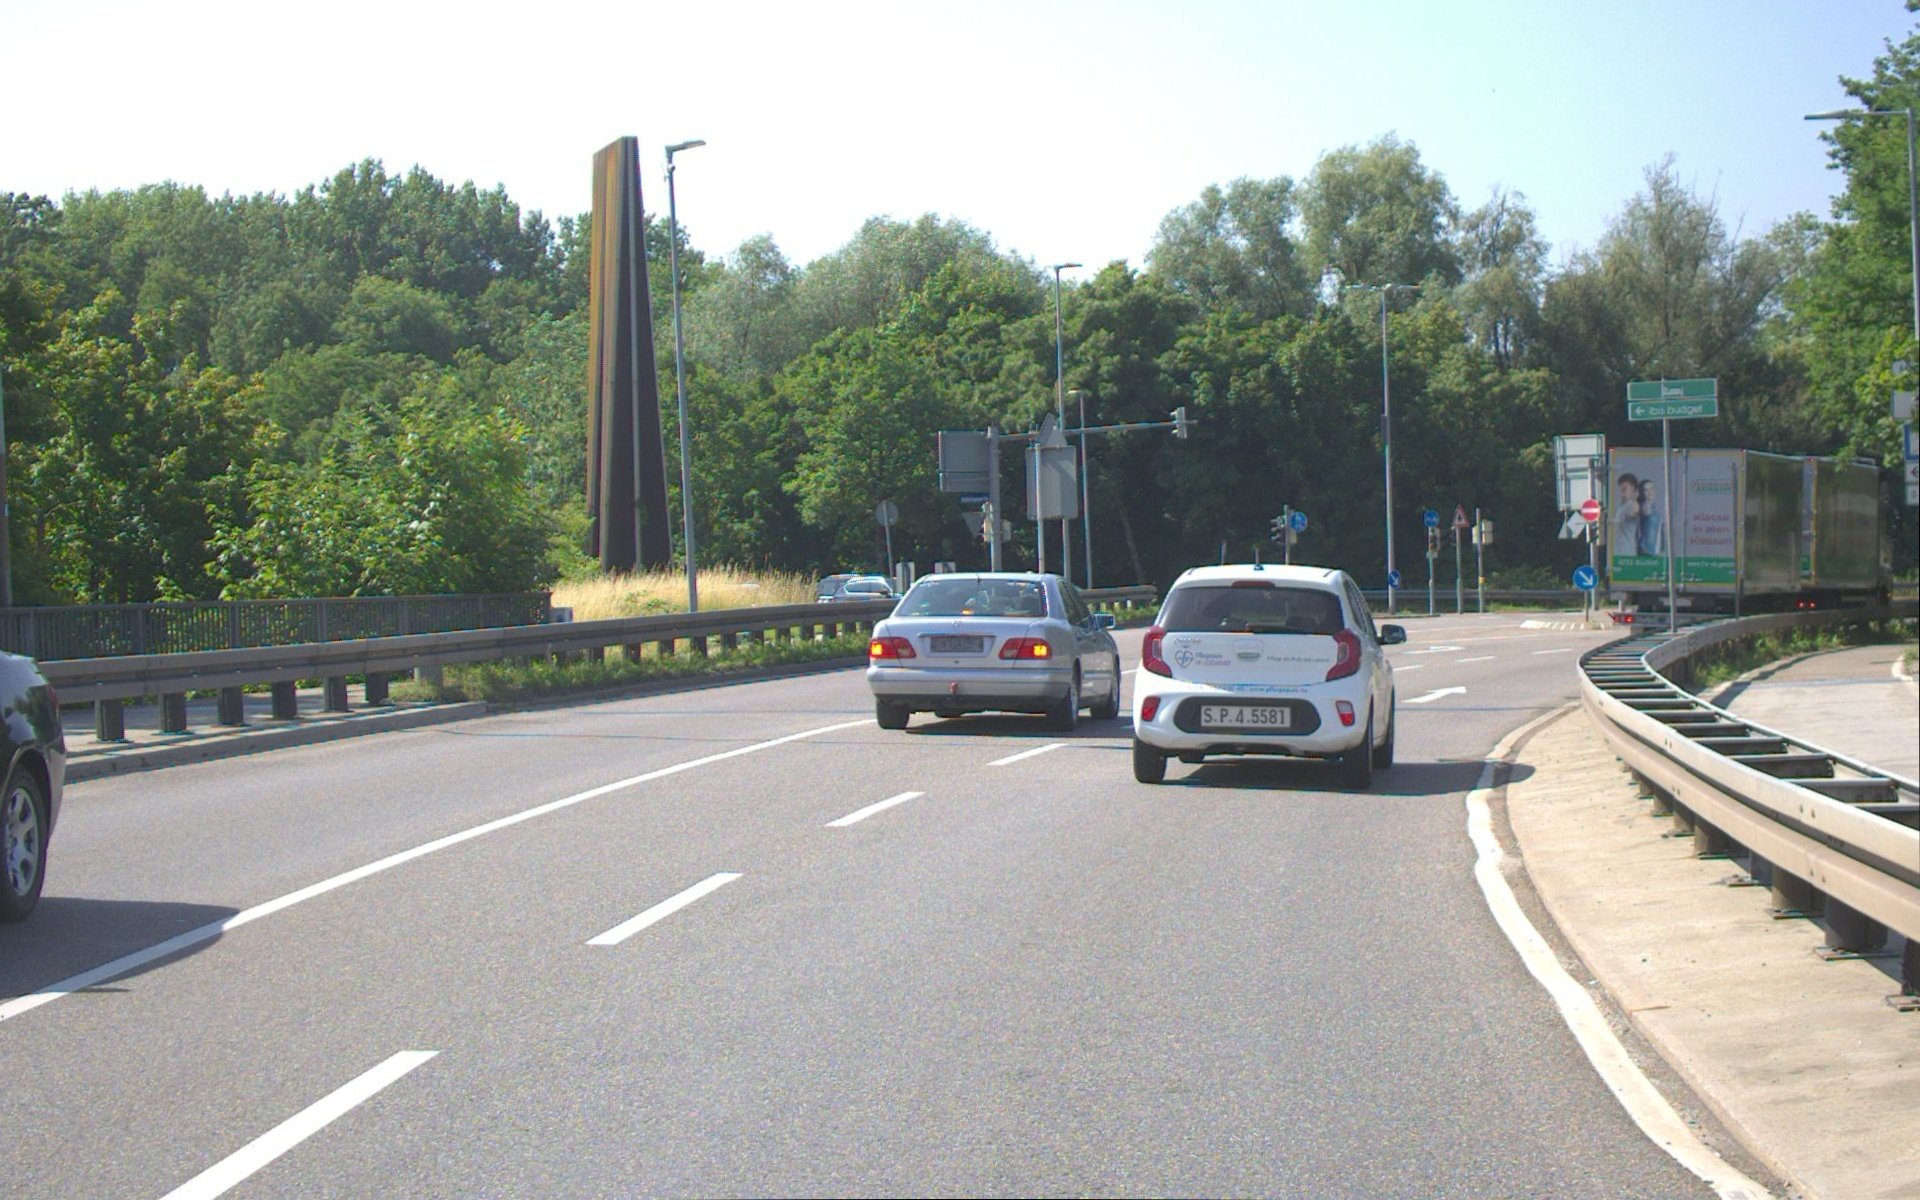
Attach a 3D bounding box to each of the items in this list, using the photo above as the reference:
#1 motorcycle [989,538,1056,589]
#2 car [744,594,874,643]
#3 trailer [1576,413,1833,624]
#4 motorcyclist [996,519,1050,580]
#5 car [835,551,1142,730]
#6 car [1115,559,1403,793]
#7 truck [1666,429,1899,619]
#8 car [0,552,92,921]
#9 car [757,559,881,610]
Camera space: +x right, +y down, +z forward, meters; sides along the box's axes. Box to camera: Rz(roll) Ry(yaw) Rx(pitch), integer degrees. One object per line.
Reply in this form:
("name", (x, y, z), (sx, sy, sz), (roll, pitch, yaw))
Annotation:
("motorcycle", (1.955, -1.122, 107.025), (1.981, 1.524, 0.897), (-2, -2, 43))
("car", (-4.956, 0.632, 112.578), (2.118, 1.384, 3.997), (2, -4, -45))
("trailer", (14.493, -1.538, 66.412), (3.228, 3.745, 7.815), (3, 1, 24))
("motorcyclist", (1.953, -1.564, 107.044), (1.463, 1.864, 0.890), (0, -1, 43))
("car", (0.358, 0.310, 31.527), (1.940, 1.481, 4.898), (1, 1, 11))
("car", (2.211, 0.480, 24.540), (1.702, 1.489, 3.998), (1, 1, 9))
("truck", (17.752, -1.594, 73.764), (3.264, 3.745, 8.360), (3, 1, 24))
("car", (-4.742, 0.560, 12.553), (1.856, 1.437, 4.515), (1, 1, 2))
("car", (-4.564, -0.485, 111.078), (1.763, 1.384, 3.997), (2, -4, -45))
